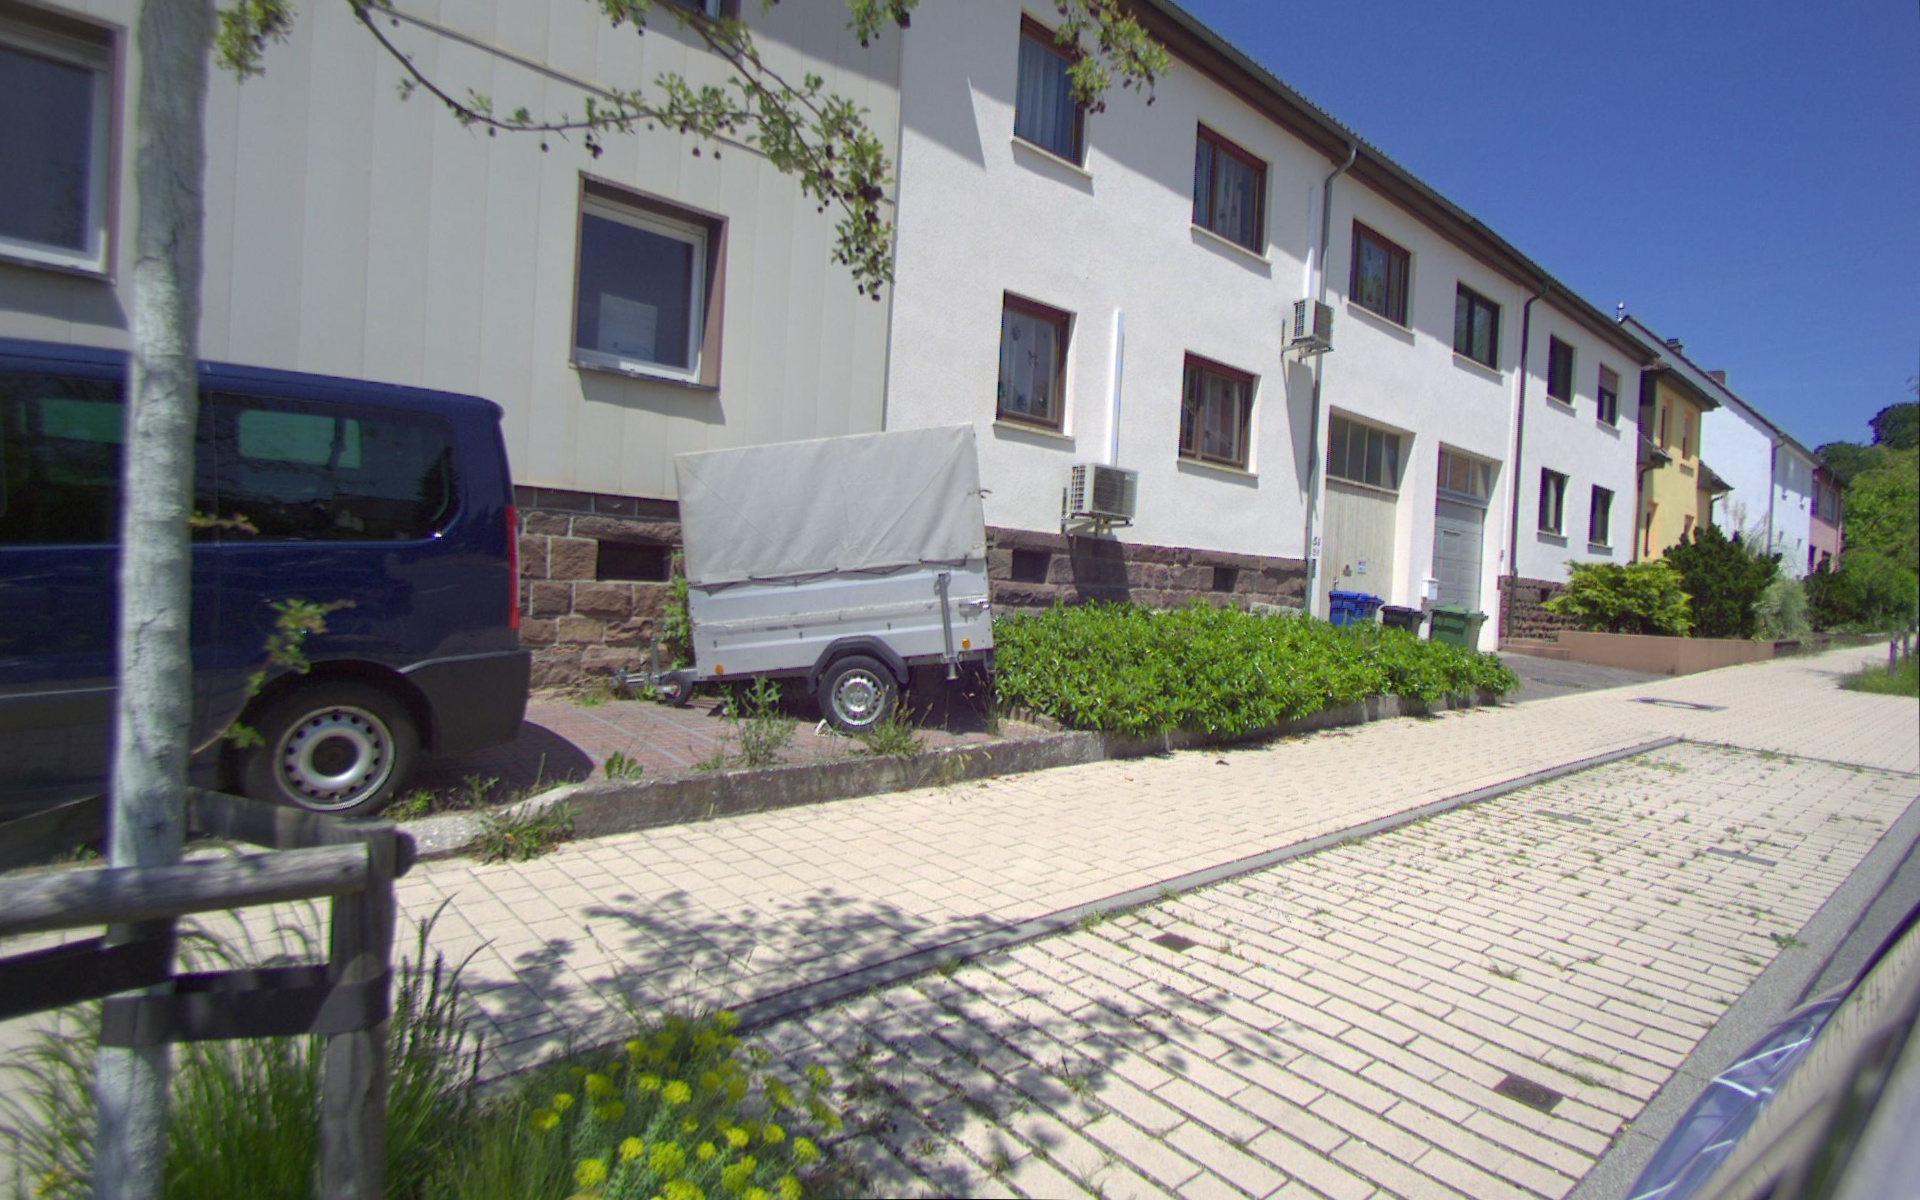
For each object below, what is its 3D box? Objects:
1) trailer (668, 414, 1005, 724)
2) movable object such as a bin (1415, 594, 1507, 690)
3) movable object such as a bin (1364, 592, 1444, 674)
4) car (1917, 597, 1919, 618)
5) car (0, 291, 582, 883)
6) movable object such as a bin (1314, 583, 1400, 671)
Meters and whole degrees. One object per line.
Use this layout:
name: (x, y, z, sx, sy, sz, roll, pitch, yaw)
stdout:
trailer: (-0.812, -0.221, 7.378, 2.231, 2.039, 1.324, 1, 0, 2)
movable object such as a bin: (6.417, 0.516, 12.964, 0.797, 1.128, 0.687, 0, 5, -35)
movable object such as a bin: (5.881, 0.423, 13.408, 0.787, 0.997, 0.560, 0, 5, -34)
car: (64.021, 0.547, 66.310, 1.669, 1.393, 3.941, 3, 2, 40)
car: (-4.139, -0.118, 3.817, 4.690, 1.994, 1.857, 0, 6, -41)
movable object such as a bin: (5.474, 0.353, 13.961, 0.846, 1.119, 0.688, 0, 4, -34)
